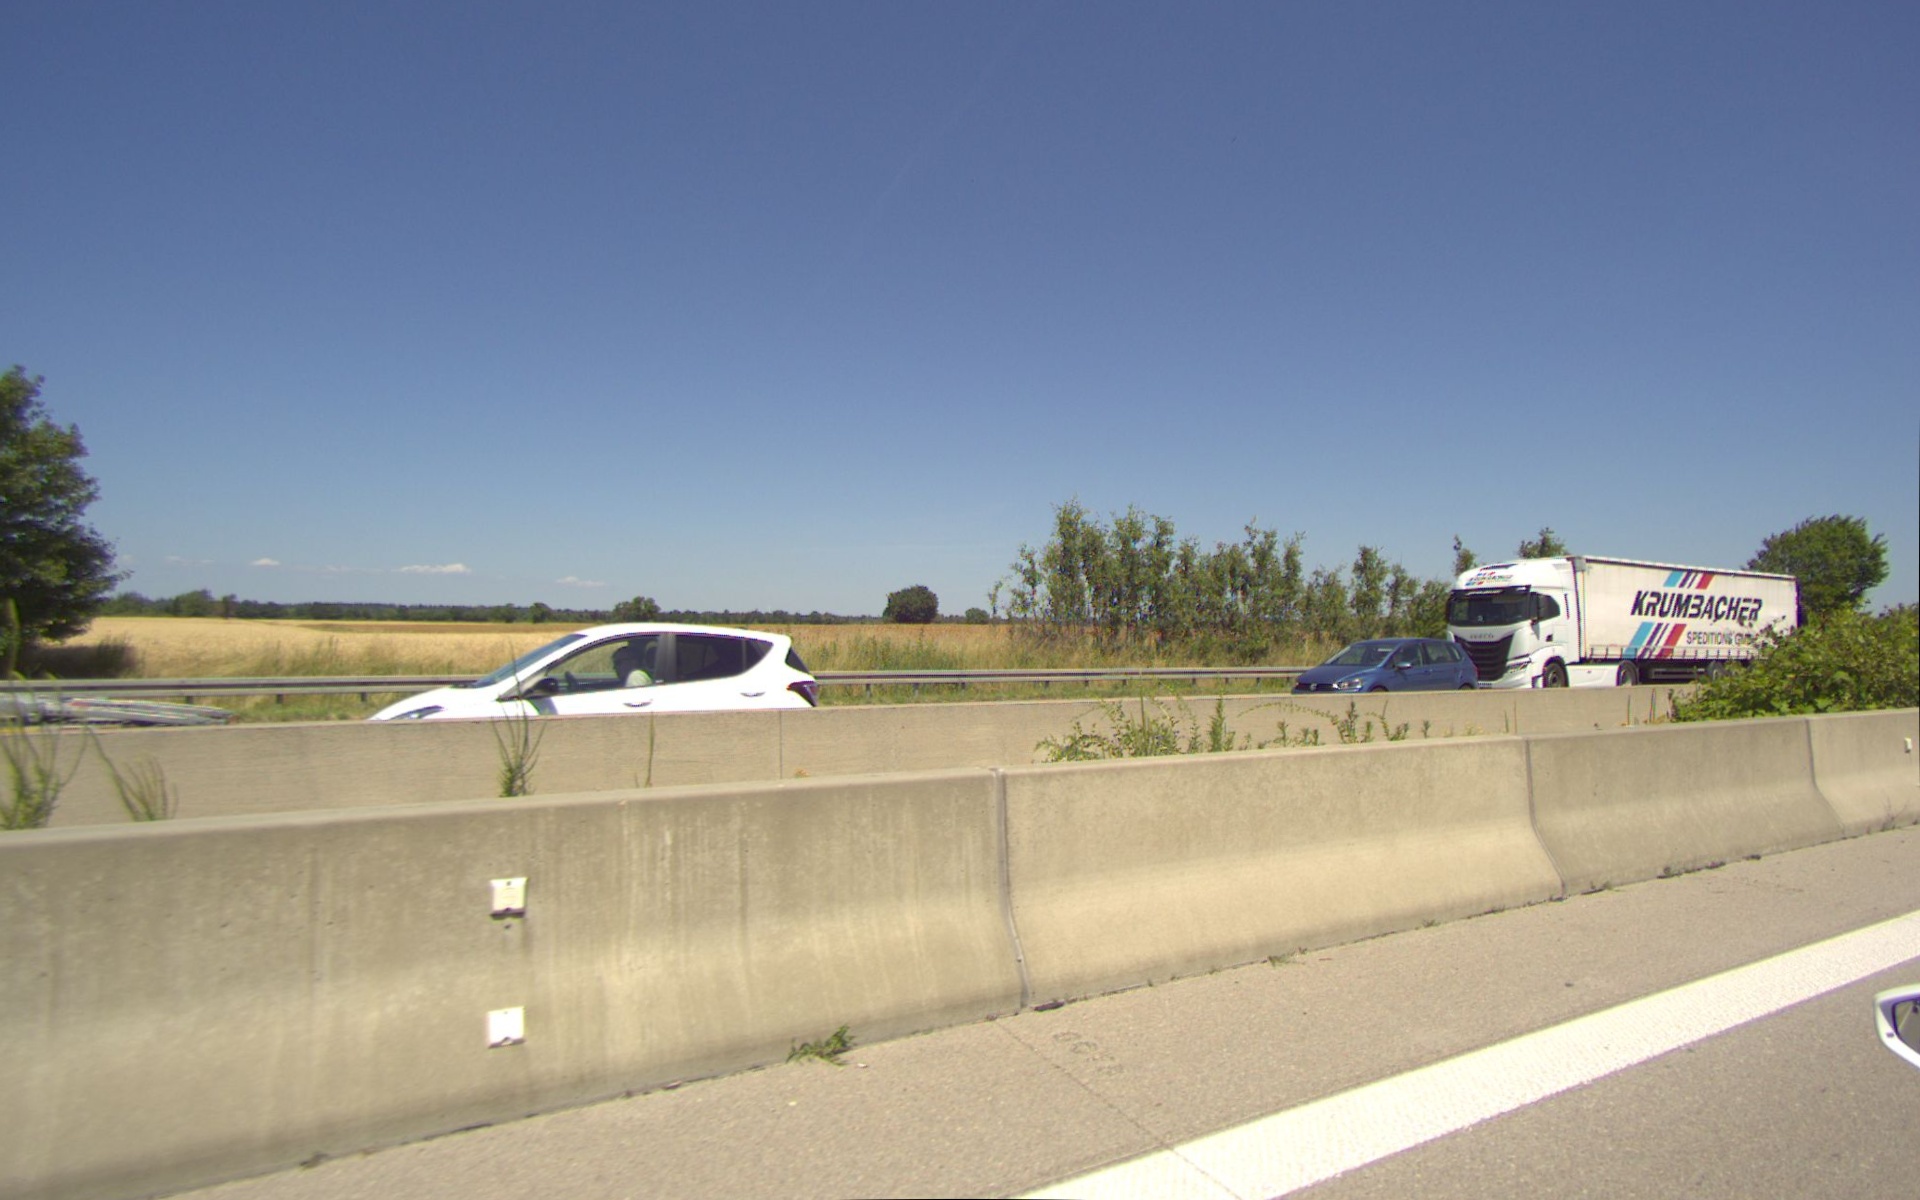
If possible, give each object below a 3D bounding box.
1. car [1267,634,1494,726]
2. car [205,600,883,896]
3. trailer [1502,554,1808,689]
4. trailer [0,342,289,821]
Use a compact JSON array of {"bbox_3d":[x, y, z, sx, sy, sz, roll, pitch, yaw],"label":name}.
[{"bbox_3d":[8.398,1.537,20.005,4.319,1.605,1.984,2,-1,-30],"label":"car"},{"bbox_3d":[-3.087,0.993,8.167,4.660,1.827,1.697,2,-2,-31],"label":"car"},{"bbox_3d":[23.391,0.765,33.314,13.665,3.853,2.757,2,0,-30],"label":"trailer"},{"bbox_3d":[-13.599,-0.310,7.110,14.436,4.093,2.764,2,0,-30],"label":"trailer"}]
